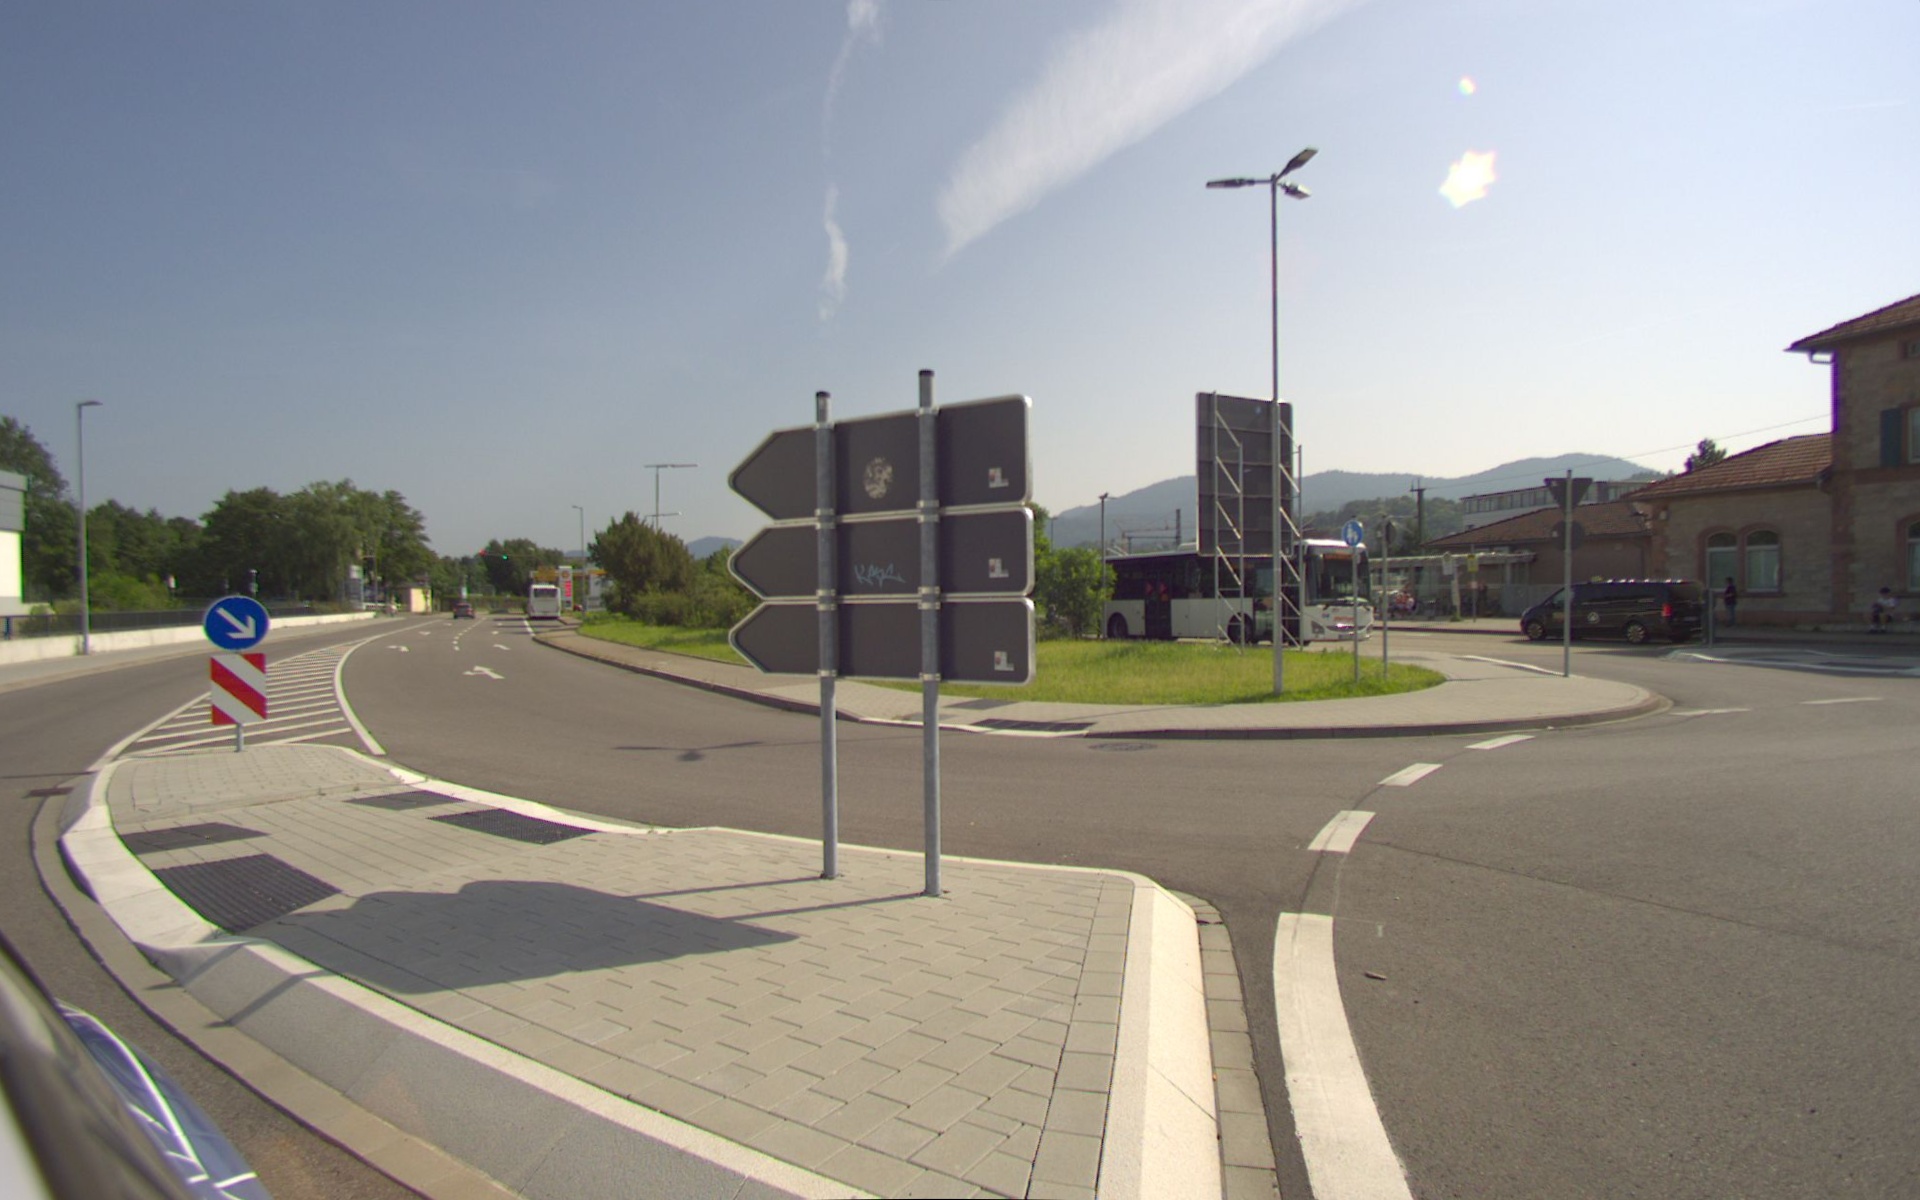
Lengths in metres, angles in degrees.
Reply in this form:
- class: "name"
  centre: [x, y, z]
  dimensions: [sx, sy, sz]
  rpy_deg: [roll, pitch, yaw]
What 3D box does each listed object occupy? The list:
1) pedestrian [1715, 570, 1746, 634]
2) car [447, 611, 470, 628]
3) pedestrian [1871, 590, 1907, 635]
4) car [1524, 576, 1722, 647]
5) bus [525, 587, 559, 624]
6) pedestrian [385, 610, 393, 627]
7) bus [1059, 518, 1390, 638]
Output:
- class: "pedestrian"
  centre: [24.762, 0.064, 32.541]
  dimensions: [0.522, 2.029, 0.578]
  rpy_deg: [0, 0, -3]
- class: "car"
  centre: [-48.261, 1.873, 97.501]
  dimensions: [1.747, 1.484, 4.233]
  rpy_deg: [0, 0, -23]
- class: "pedestrian"
  centre: [25.375, 0.336, 27.649]
  dimensions: [0.435, 1.213, 0.586]
  rpy_deg: [0, 0, -21]
- class: "car"
  centre: [19.880, 0.330, 30.639]
  dimensions: [1.814, 1.960, 4.897]
  rpy_deg: [0, 0, -19]
- class: "bus"
  centre: [-39.561, 0.506, 95.529]
  dimensions: [2.583, 3.335, 11.996]
  rpy_deg: [0, 0, -24]
- class: "pedestrian"
  centre: [-56.866, 1.819, 100.762]
  dimensions: [0.700, 1.684, 0.595]
  rpy_deg: [0, 0, -30]
- class: "bus"
  centre: [7.726, -0.483, 32.360]
  dimensions: [3.021, 3.147, 11.758]
  rpy_deg: [-1, -1, -28]
